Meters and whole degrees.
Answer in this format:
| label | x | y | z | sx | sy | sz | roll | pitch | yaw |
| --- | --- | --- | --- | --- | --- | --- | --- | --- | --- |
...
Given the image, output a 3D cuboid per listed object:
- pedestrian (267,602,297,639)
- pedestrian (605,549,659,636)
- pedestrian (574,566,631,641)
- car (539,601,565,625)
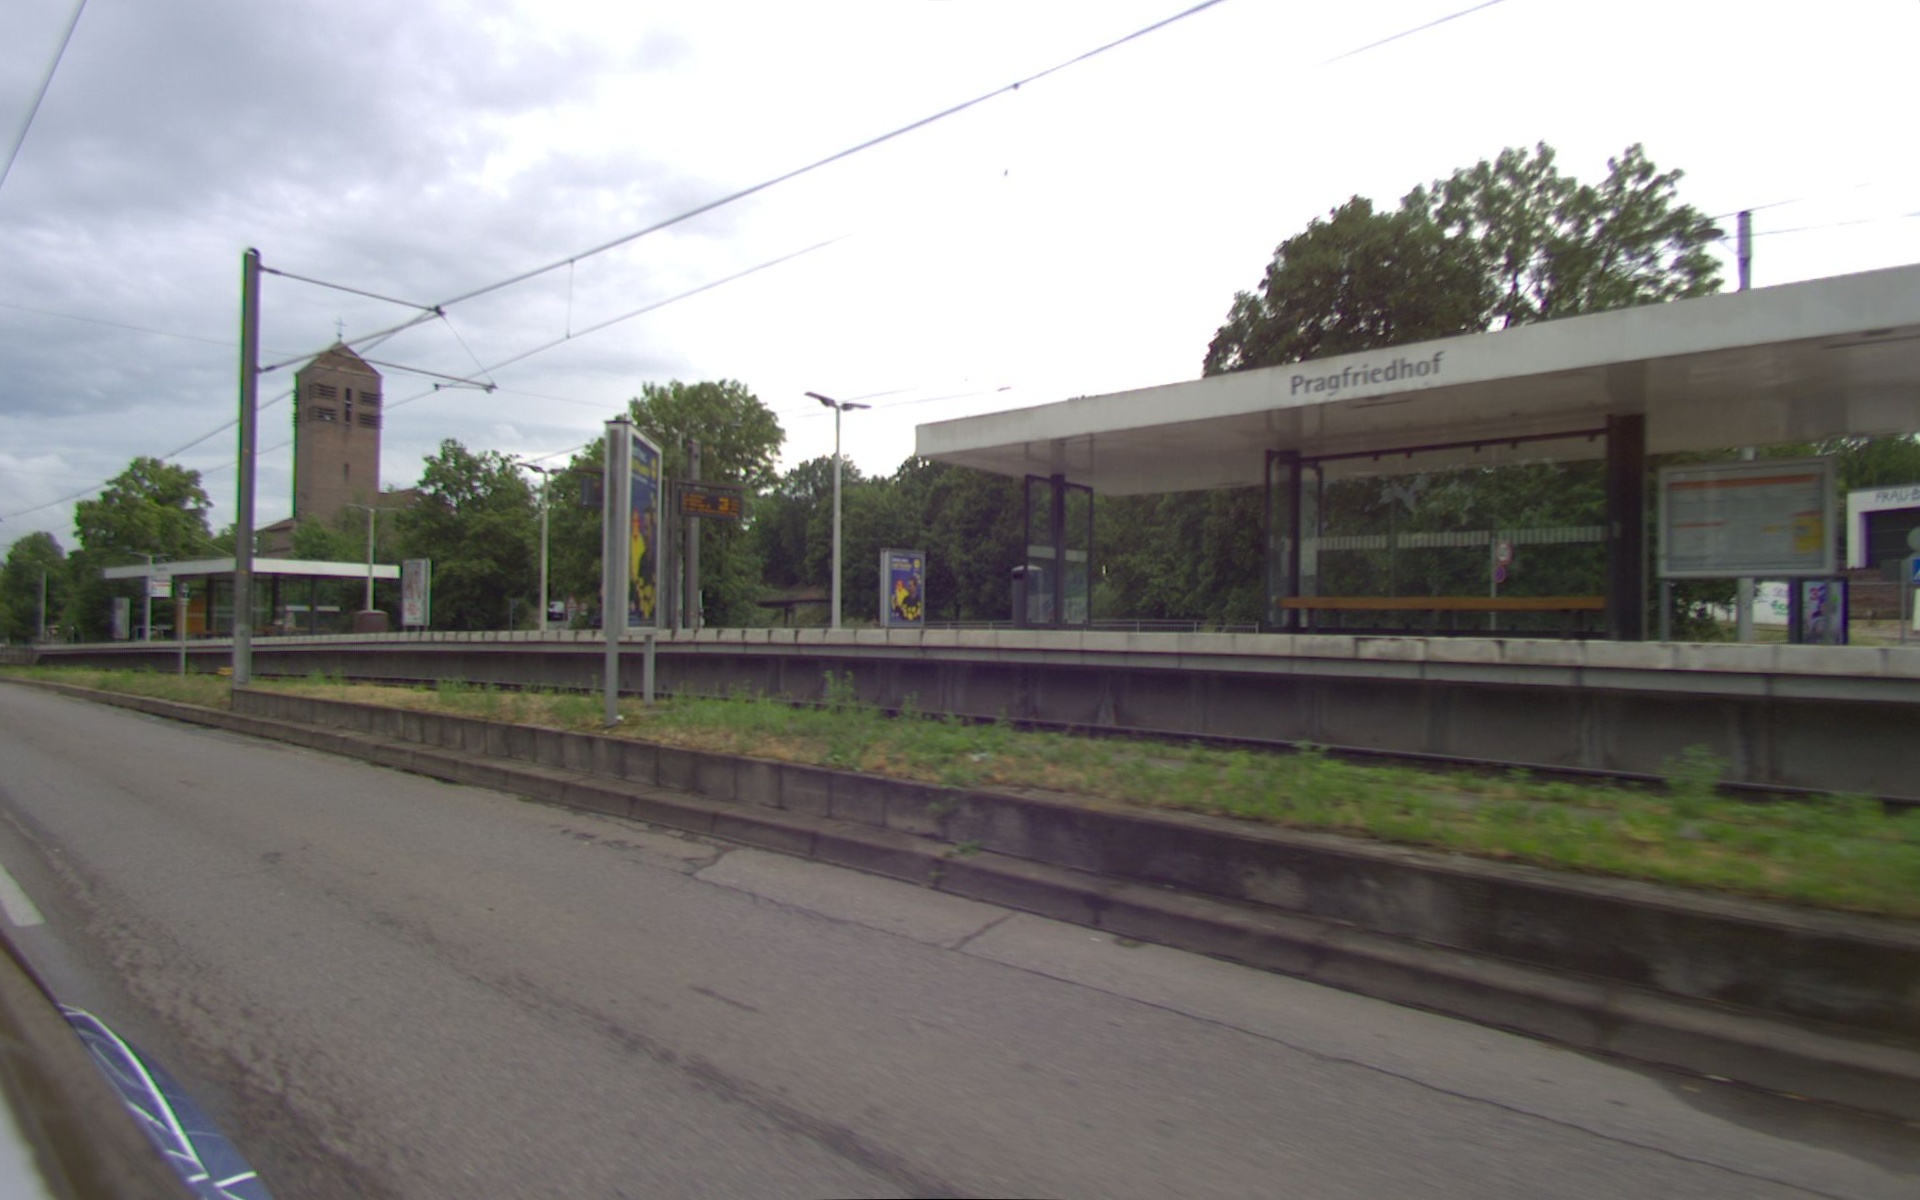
| label | x | y | z | sx | sy | sz | roll | pitch | yaw |
| --- | --- | --- | --- | --- | --- | --- | --- | --- | --- |
| pedestrian | -22.929 | 0.697 | 34.240 | 0.619 | 1.235 | 0.703 | -3 | -3 | 39 |
| pedestrian | -7.497 | -0.160 | 23.165 | 0.835 | 1.924 | 0.741 | -4 | -2 | 19 |
| pedestrian | -8.316 | 0.088 | 23.559 | 0.911 | 1.659 | 0.792 | -4 | -2 | 19 |
| car | -36.327 | 1.143 | 90.233 | 1.965 | 2.029 | 4.013 | -1 | 0 | -20 |
